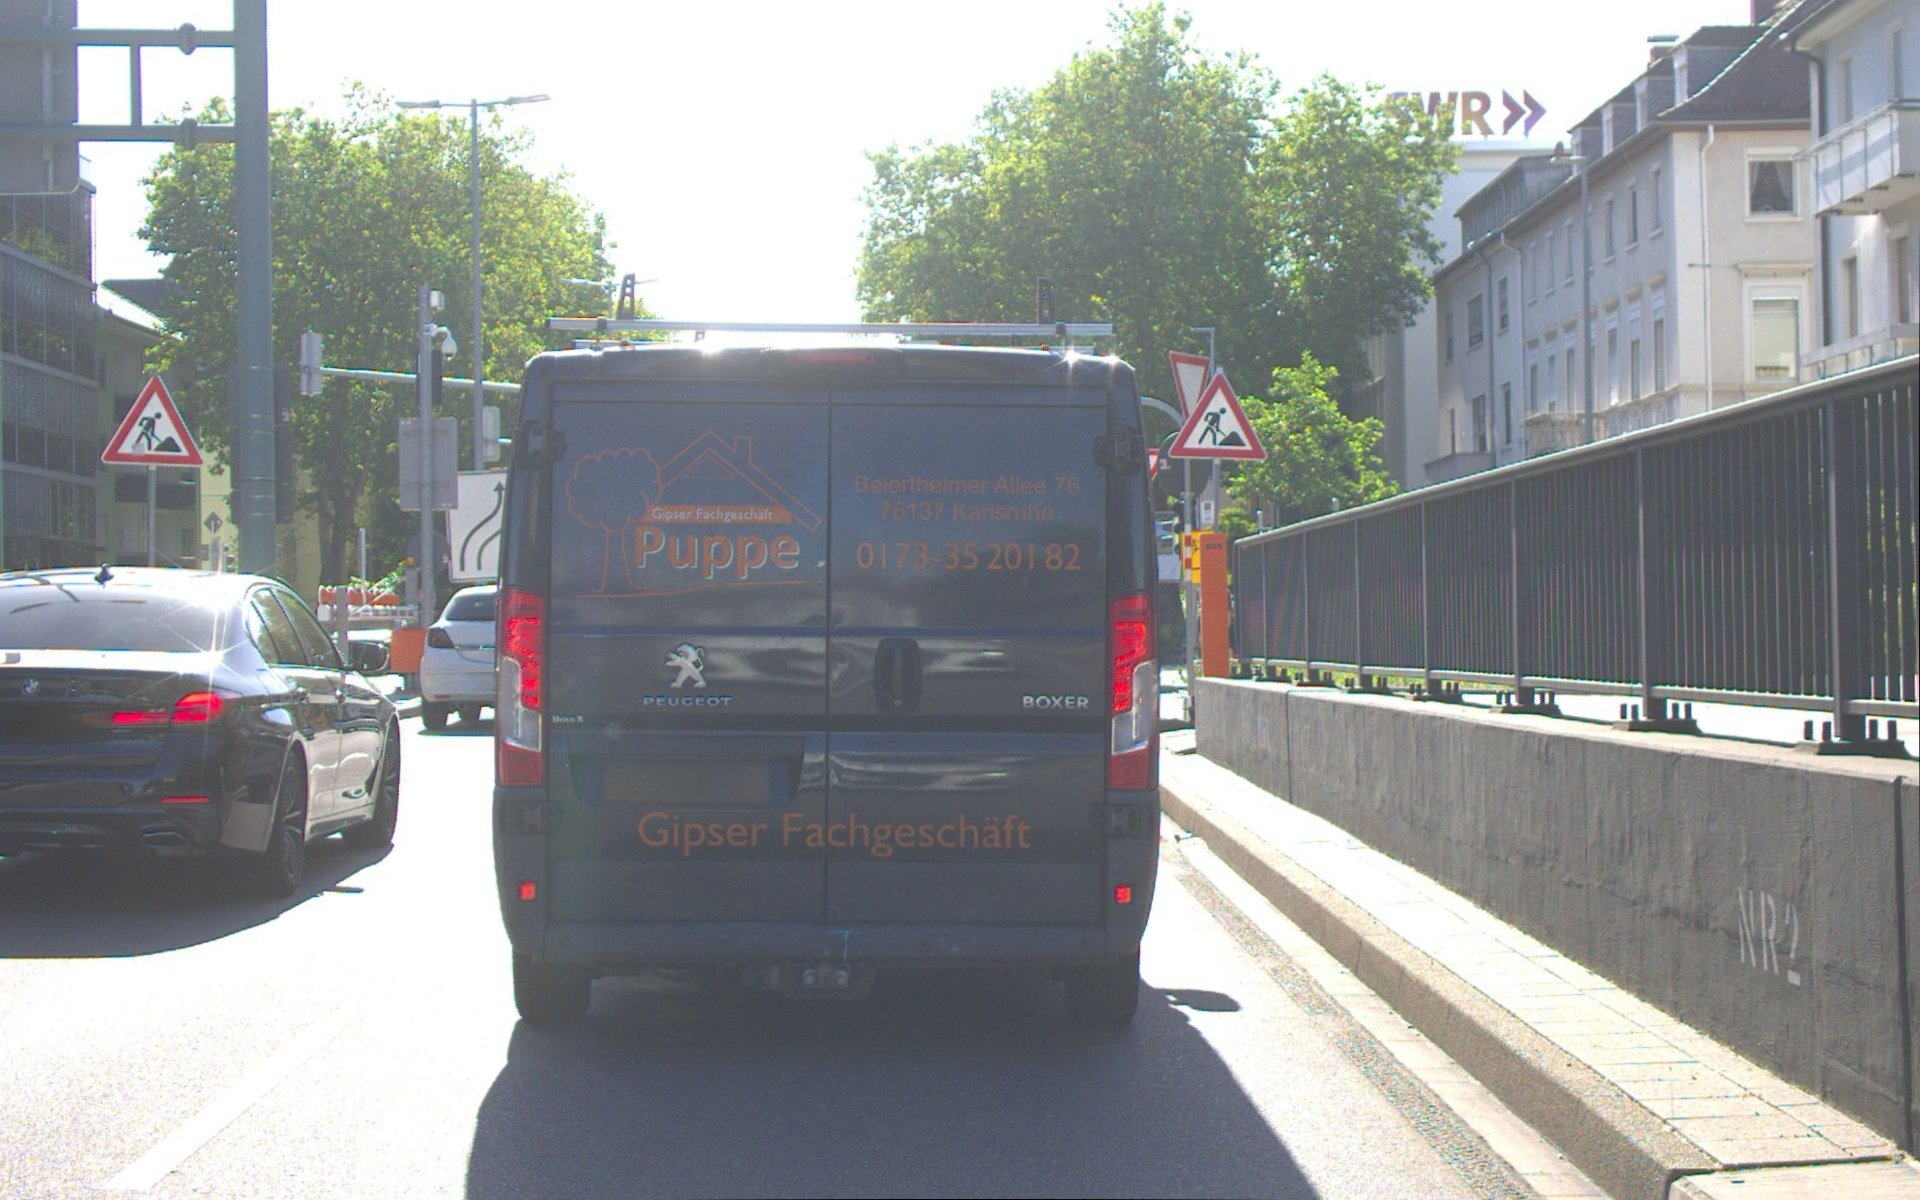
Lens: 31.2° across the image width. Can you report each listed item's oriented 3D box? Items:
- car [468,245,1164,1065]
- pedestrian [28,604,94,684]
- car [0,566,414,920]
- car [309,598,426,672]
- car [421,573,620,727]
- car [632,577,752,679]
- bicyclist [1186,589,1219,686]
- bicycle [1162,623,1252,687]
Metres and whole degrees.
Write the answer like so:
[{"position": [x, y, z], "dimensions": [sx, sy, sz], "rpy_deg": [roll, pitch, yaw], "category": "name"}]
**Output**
[{"position": [-0.459, 0.156, 12.052], "dimensions": [2.030, 2.394, 3.973], "rpy_deg": [0, 0, -1], "category": "car"}, {"position": [-21.941, 1.068, 83.921], "dimensions": [1.332, 1.925, 1.026], "rpy_deg": [1, 0, -1], "category": "pedestrian"}, {"position": [-3.869, 0.568, 16.544], "dimensions": [1.808, 1.434, 5.003], "rpy_deg": [1, 0, -2], "category": "car"}, {"position": [-13.127, 0.762, 76.379], "dimensions": [1.936, 1.549, 3.923], "rpy_deg": [1, 0, -1], "category": "car"}, {"position": [-4.438, 0.467, 35.157], "dimensions": [1.619, 1.398, 3.852], "rpy_deg": [1, 1, -1], "category": "car"}, {"position": [-4.169, 0.415, 53.845], "dimensions": [1.689, 1.478, 3.319], "rpy_deg": [1, 1, -2], "category": "car"}, {"position": [4.390, 0.672, 62.170], "dimensions": [0.509, 1.729, 0.597], "rpy_deg": [1, 0, -1], "category": "bicyclist"}, {"position": [4.460, 0.986, 62.172], "dimensions": [1.566, 1.114, 0.570], "rpy_deg": [1, 0, -1], "category": "bicycle"}]
